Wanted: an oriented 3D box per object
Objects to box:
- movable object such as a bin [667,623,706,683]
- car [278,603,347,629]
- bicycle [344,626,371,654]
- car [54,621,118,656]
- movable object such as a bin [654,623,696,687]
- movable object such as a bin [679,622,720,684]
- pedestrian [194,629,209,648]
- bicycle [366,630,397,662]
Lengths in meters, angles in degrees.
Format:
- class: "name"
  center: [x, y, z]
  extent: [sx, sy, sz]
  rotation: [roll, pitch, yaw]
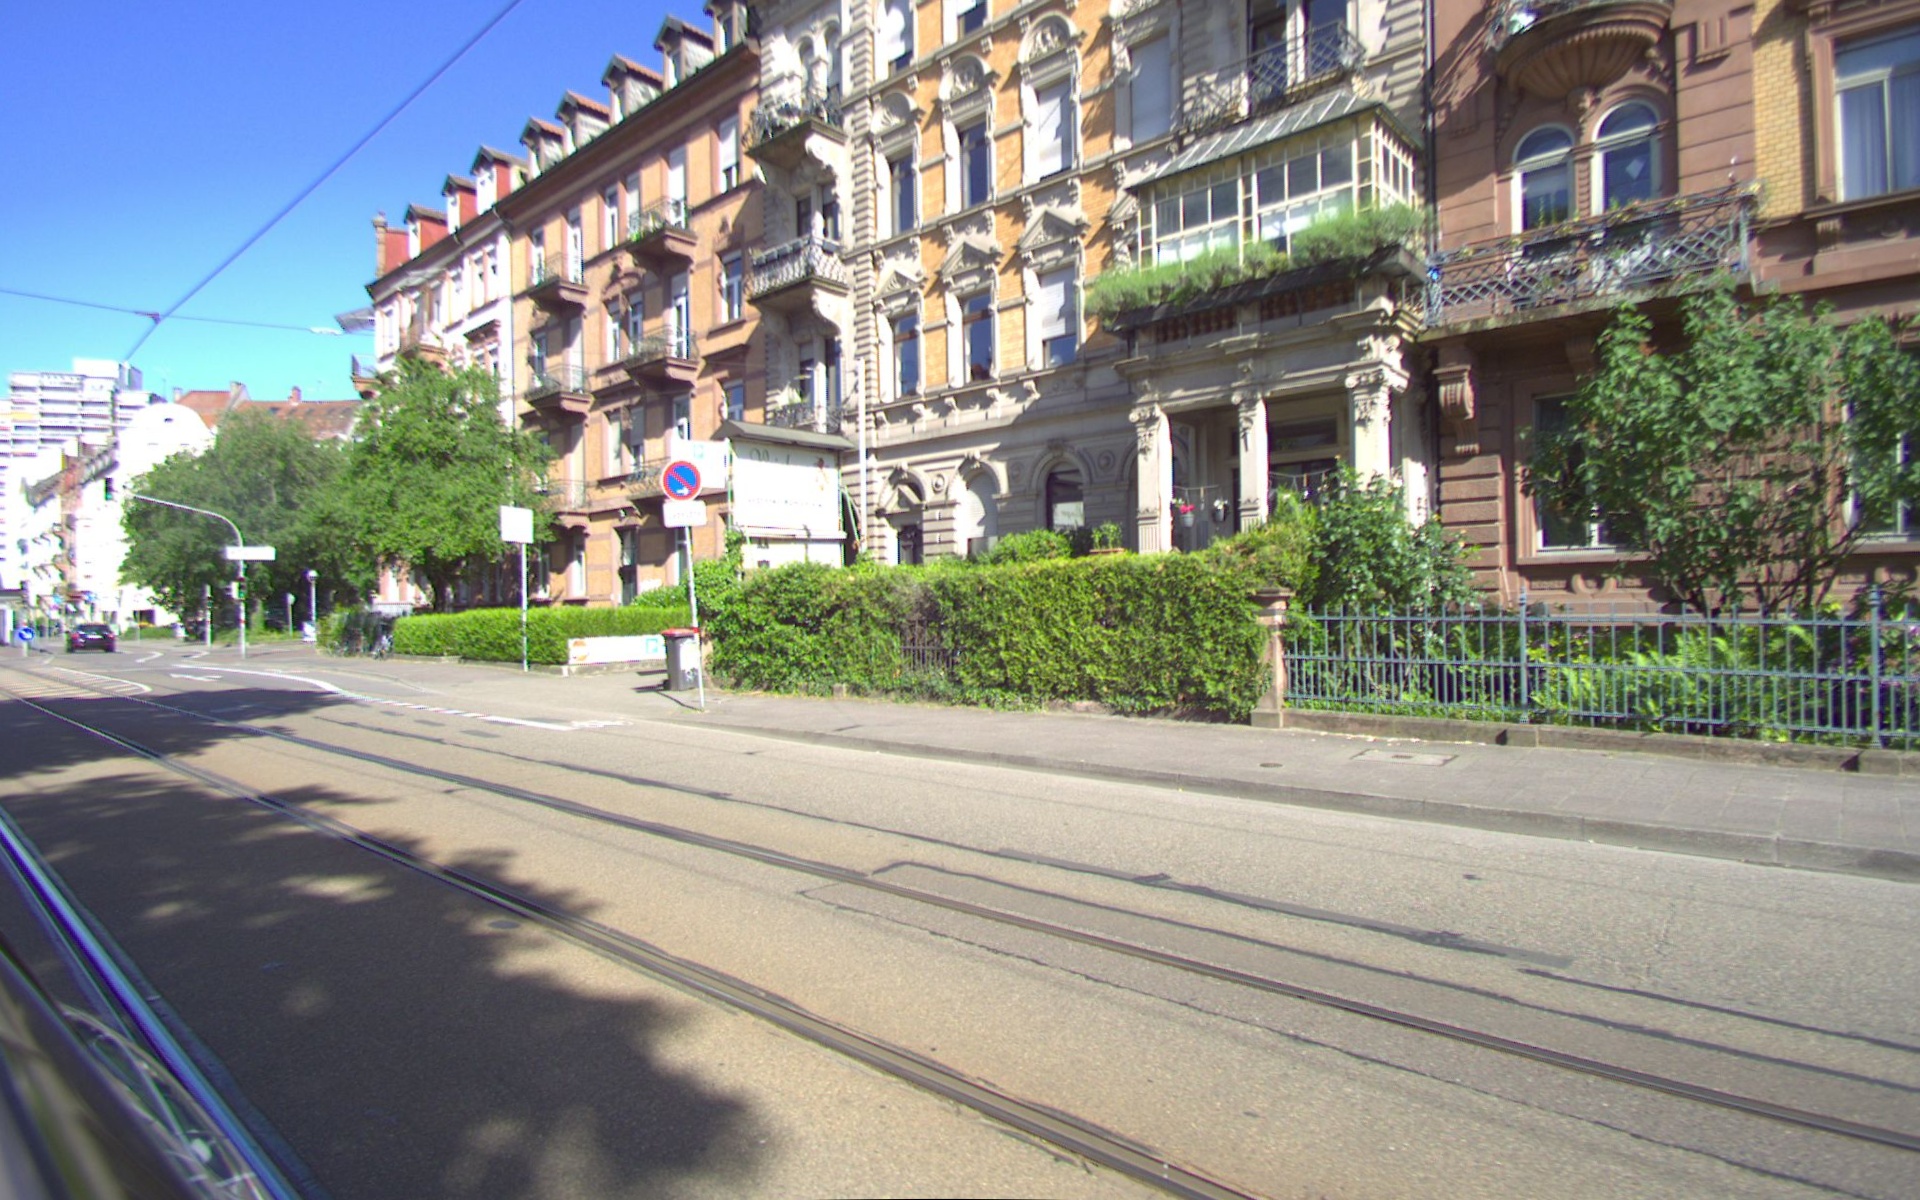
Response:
- class: "movable object such as a bin"
  center: [-5.149, 0.988, 19.061]
  extent: [0.541, 1.094, 0.474]
  rotation: [-2, 0, 43]
- class: "car"
  center: [-46.409, 1.122, 72.583]
  extent: [3.967, 1.709, 1.692]
  rotation: [-3, 1, -41]
- class: "bicycle"
  center: [-20.408, 1.339, 34.243]
  extent: [0.338, 0.933, 1.944]
  rotation: [-2, 1, -43]
- class: "car"
  center: [-43.523, 1.908, 50.361]
  extent: [4.966, 1.529, 1.813]
  rotation: [-2, 1, 42]
- class: "movable object such as a bin"
  center: [-5.063, 0.966, 18.004]
  extent: [0.541, 1.094, 0.474]
  rotation: [-2, 0, 43]
- class: "movable object such as a bin"
  center: [-4.786, 0.964, 18.591]
  extent: [0.541, 1.094, 0.474]
  rotation: [-2, 0, 43]
- class: "pedestrian"
  center: [-52.513, 2.656, 70.038]
  extent: [0.724, 1.291, 0.650]
  rotation: [-2, 0, 42]
- class: "bicycle"
  center: [-17.618, 1.385, 30.812]
  extent: [0.338, 0.933, 1.944]
  rotation: [-2, 1, -43]
